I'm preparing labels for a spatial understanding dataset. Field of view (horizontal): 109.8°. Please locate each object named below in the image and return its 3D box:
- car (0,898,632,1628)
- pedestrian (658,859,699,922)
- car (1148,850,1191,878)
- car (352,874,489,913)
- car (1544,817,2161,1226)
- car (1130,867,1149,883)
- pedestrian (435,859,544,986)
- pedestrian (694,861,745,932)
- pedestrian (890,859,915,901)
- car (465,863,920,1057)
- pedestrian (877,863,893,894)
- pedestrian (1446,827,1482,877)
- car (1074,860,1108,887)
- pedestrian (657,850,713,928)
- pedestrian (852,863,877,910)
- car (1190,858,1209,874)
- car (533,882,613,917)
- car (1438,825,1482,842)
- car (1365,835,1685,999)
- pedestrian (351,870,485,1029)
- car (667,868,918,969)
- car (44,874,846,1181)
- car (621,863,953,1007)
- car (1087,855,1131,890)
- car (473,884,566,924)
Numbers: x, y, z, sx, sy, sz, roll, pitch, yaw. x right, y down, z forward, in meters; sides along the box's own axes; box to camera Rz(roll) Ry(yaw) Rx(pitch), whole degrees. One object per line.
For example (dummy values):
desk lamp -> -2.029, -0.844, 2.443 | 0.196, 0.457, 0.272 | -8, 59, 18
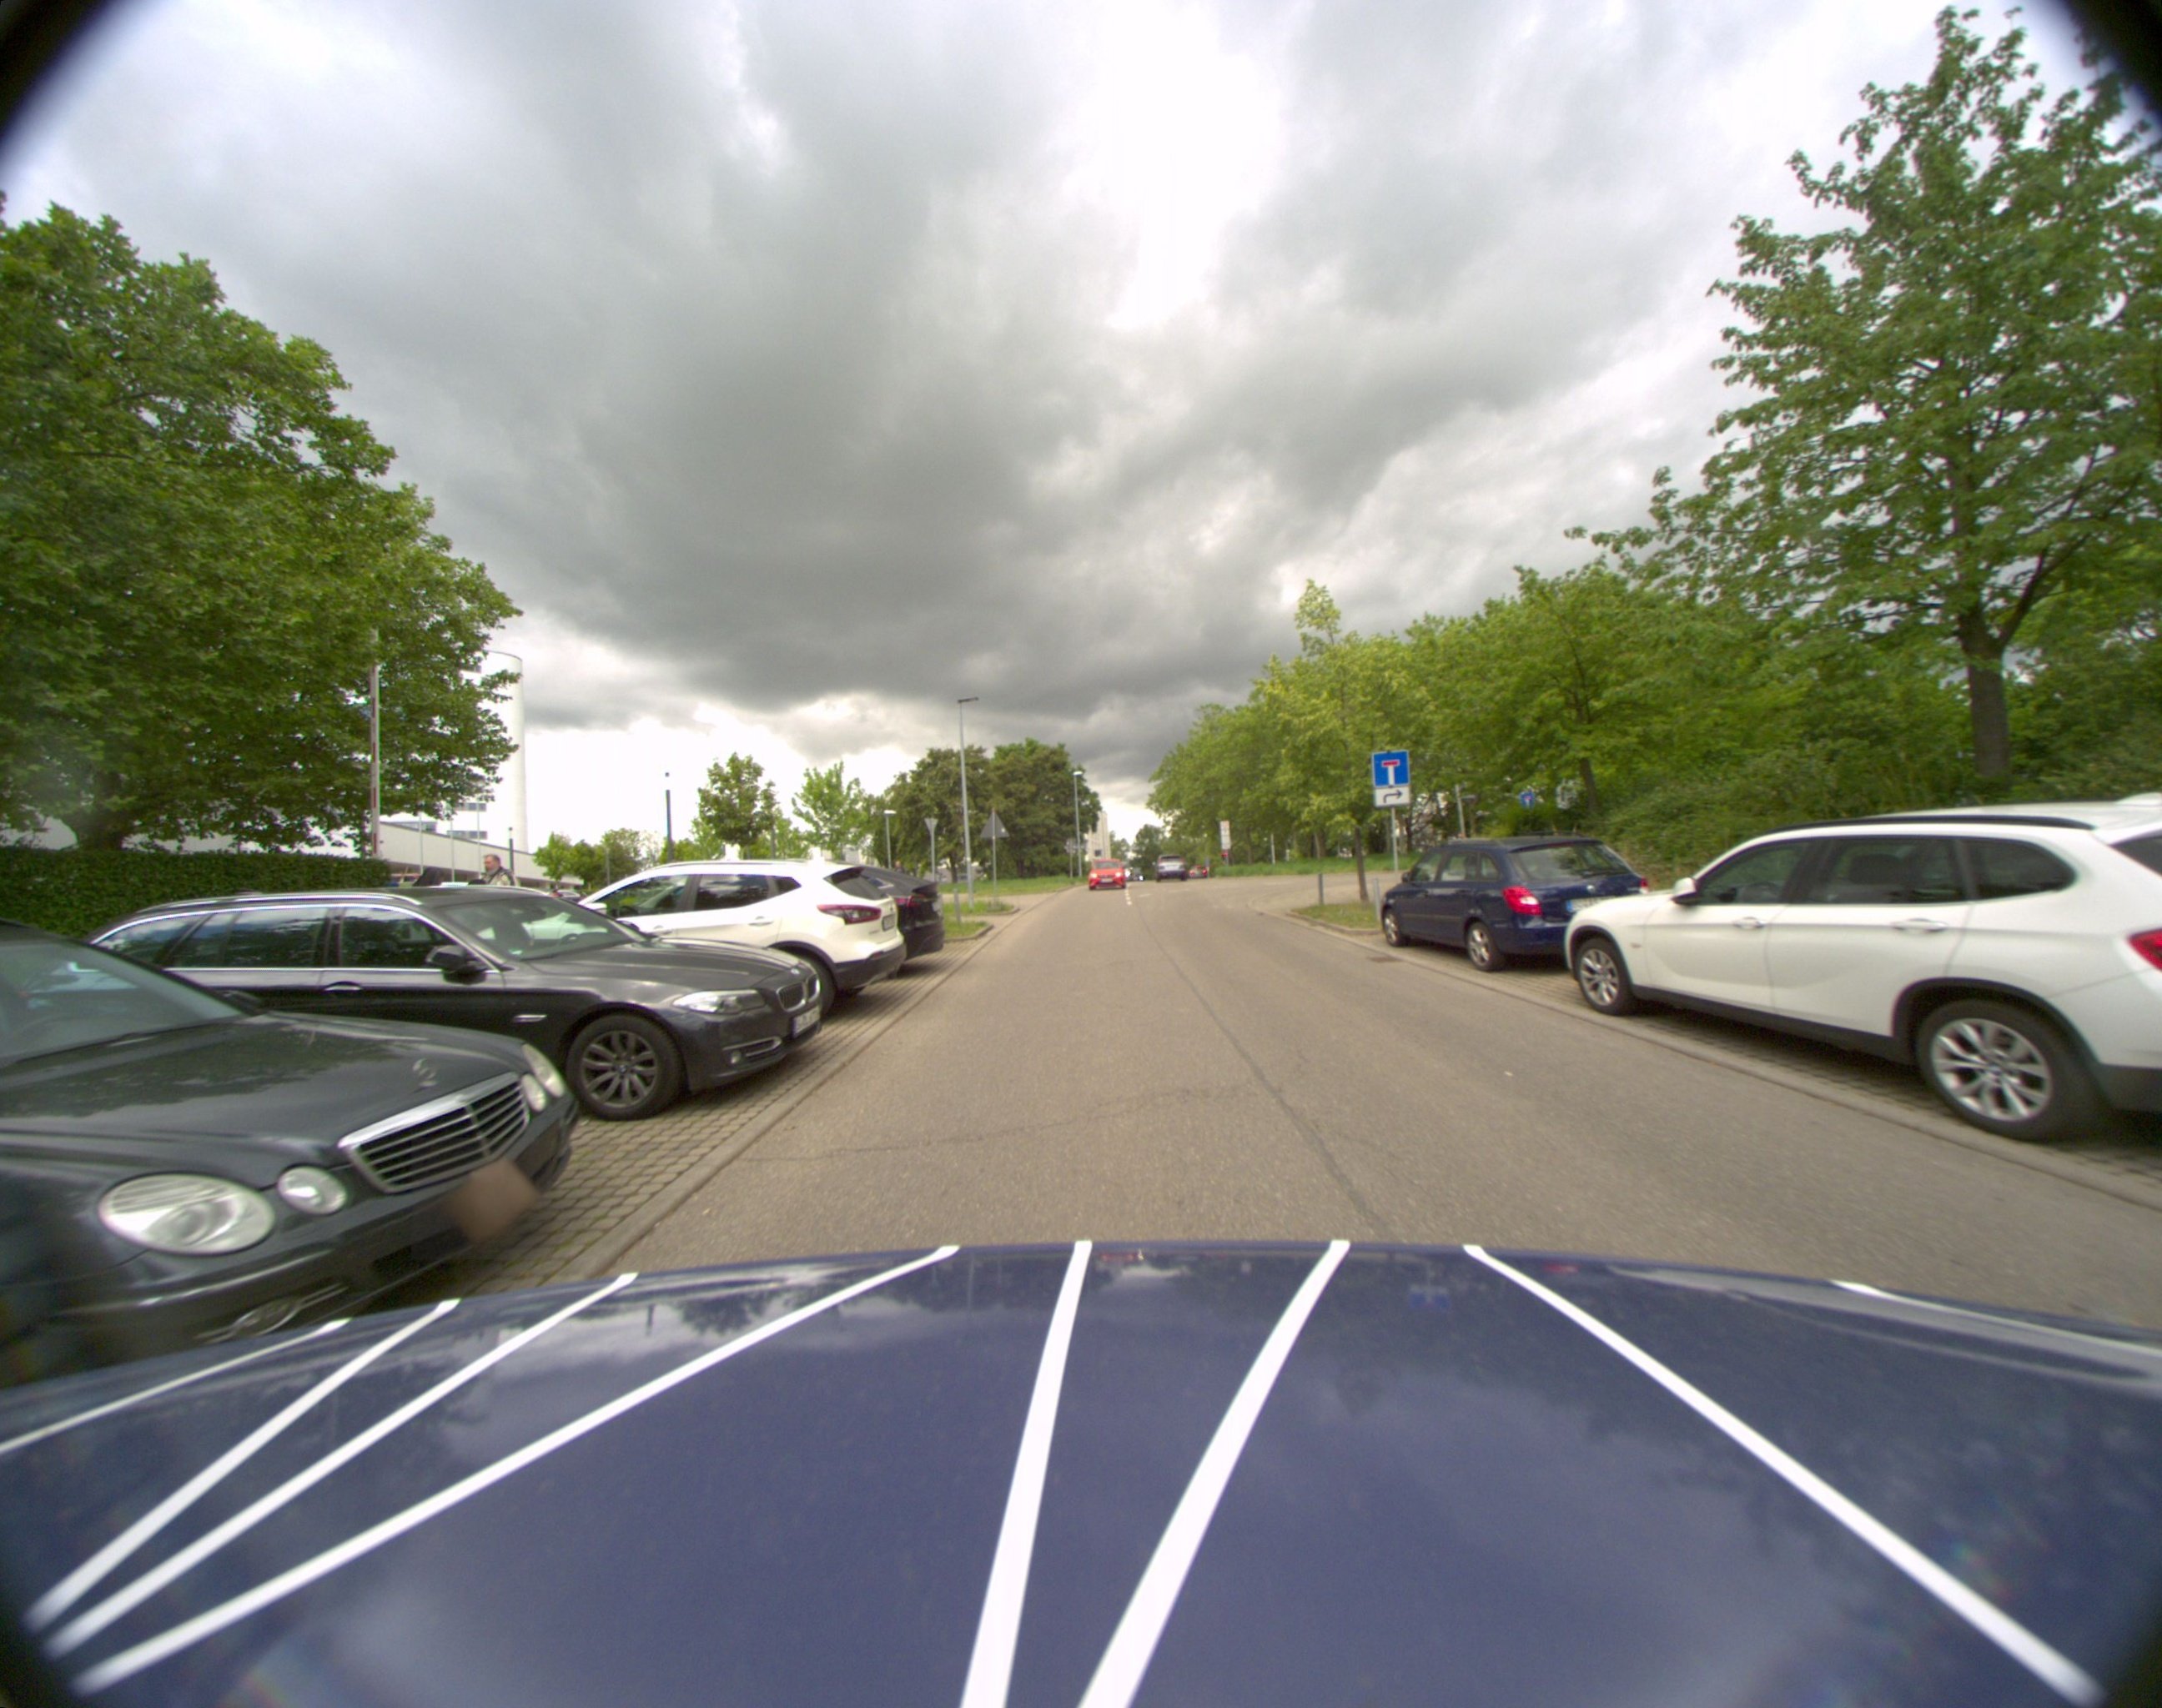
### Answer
car -> -4.443, 1.038, 2.588 | 4.587, 1.483, 1.951 | -2, 1, -2
pedestrian -> -11.306, 1.009, 21.360 | 0.655, 1.701, 0.706 | -3, 0, 8
car -> 5.384, 0.632, 46.467 | 1.901, 1.573, 4.167 | 2, -1, -3
car -> -28.725, 1.679, 33.202 | 4.122, 1.382, 1.707 | -3, 0, -19
car -> 5.050, 0.641, 4.731 | 1.694, 1.502, 4.231 | -6, -1, 1
car -> 6.004, 2.117, 77.451 | 1.758, 1.506, 4.002 | -3, 0, 6
pedestrian -> -8.820, 0.990, 11.363 | 0.833, 1.782, 0.878 | -3, 0, 2
pedestrian -> -8.653, 0.992, 18.215 | 0.689, 1.611, 0.932 | -3, 0, 0
pedestrian -> -7.616, 1.112, 32.415 | 0.764, 1.712, 0.885 | -3, 0, -27
car -> -3.756, 0.986, 7.828 | 3.678, 1.637, 1.852 | -2, 0, 3
pedestrian -> -10.679, 1.317, 41.452 | 0.639, 1.634, 0.603 | -3, 0, -27
pedestrian -> 12.718, -0.062, 25.272 | 0.635, 1.601, 0.719 | -2, -3, -24
car -> 0.696, 1.235, 49.164 | 1.758, 1.506, 4.002 | -3, 0, 6
pedestrian -> -7.743, 0.680, 14.871 | 0.620, 1.460, 0.736 | -3, 0, 2
pedestrian -> -8.062, 1.198, 28.317 | 0.652, 1.659, 0.897 | -3, 0, -6
car -> 12.729, 1.266, 82.056 | 1.758, 1.506, 4.002 | -3, 0, 6
car -> -33.389, 2.957, 50.065 | 4.004, 2.002, 1.996 | -3, 0, -24
car -> 38.107, -2.059, 76.385 | 4.004, 1.455, 1.651 | -3, 0, -23
car -> 5.188, 0.647, 9.598 | 1.694, 1.478, 3.954 | -6, -1, 2
pedestrian -> -7.976, 1.109, 9.181 | 0.741, 1.782, 0.878 | -3, 0, 2
car -> -4.922, 1.084, 13.271 | 3.678, 1.489, 1.646 | -3, 0, 3
car -> -4.004, 1.042, 5.386 | 3.997, 1.510, 1.883 | -3, 1, 0
car -> -3.736, 1.007, 10.056 | 3.678, 1.565, 1.593 | -3, 1, 3
car -> 1.395, 0.841, 36.630 | 1.758, 1.506, 4.002 | -3, 0, 6
car -> -33.039, 2.889, 44.842 | 4.004, 2.002, 1.996 | -3, 0, -24
